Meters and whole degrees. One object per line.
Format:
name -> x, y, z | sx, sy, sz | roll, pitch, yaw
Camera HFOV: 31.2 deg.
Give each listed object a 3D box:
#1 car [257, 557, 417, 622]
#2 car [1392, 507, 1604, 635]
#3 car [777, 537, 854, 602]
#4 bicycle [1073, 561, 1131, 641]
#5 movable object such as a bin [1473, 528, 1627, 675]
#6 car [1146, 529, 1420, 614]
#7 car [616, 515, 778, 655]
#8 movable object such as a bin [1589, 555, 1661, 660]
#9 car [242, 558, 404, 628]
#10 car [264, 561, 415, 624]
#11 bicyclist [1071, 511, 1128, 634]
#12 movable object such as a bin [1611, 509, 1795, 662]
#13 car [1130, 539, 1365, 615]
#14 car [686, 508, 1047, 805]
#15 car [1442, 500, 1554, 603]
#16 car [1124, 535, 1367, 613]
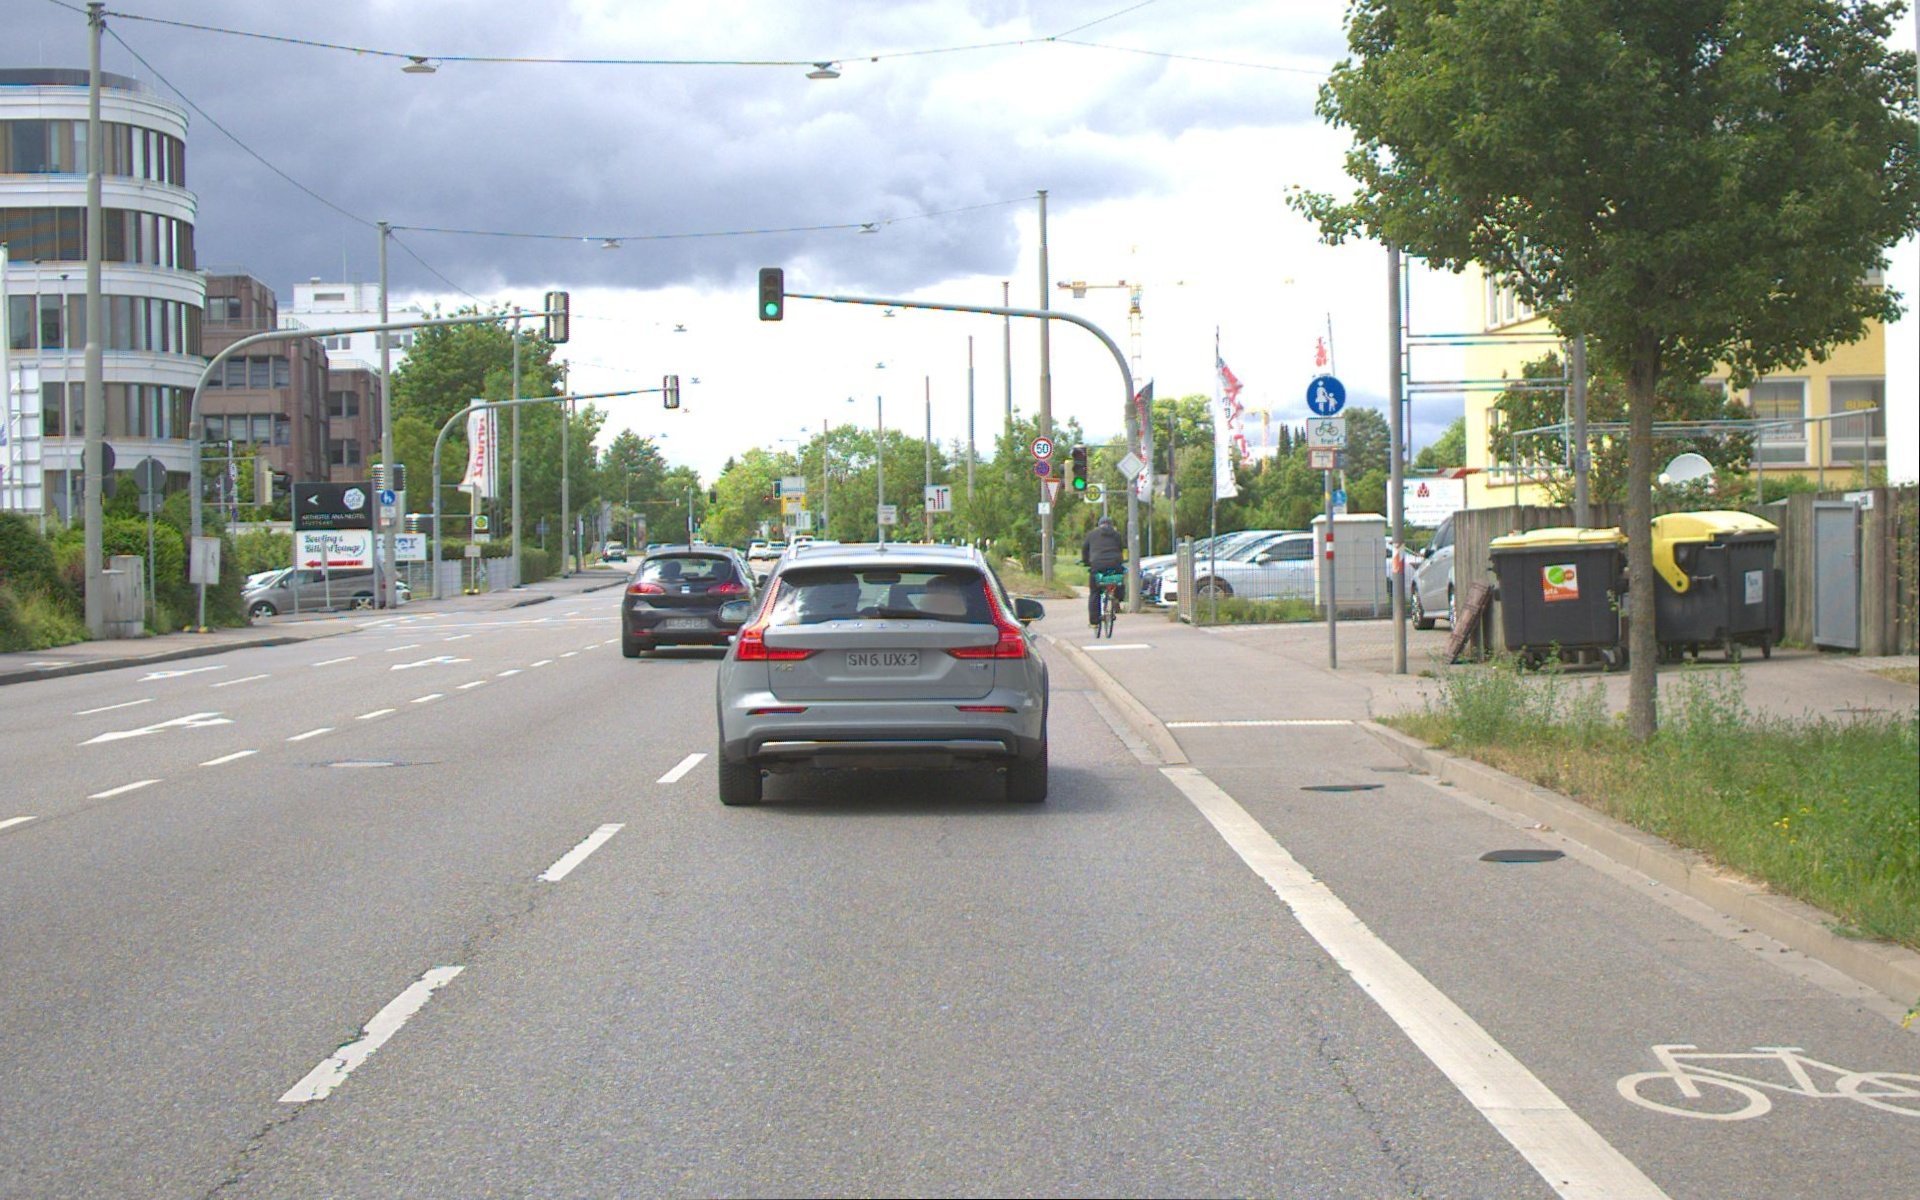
car -> -17.680, -0.290, 97.759 | 4.223, 1.382, 1.984 | -6, 0, -6
car -> 6.932, -0.394, 44.697 | 1.875, 1.540, 4.522 | -1, 1, -2
car -> -3.895, -0.810, 93.270 | 1.993, 1.689, 4.000 | 1, 0, -2
bicycle -> 1.999, 0.006, 48.534 | 0.638, 1.059, 1.977 | -4, 1, -1
movable object such as a bin -> 5.634, 0.023, 32.778 | 1.320, 1.356, 1.250 | -1, -1, 15
car -> 5.775, -0.520, 61.902 | 4.696, 1.488, 2.046 | 0, 1, -1
car -> -3.425, -0.189, 45.339 | 1.993, 1.711, 4.000 | 1, 0, -3
movable object such as a bin -> 6.520, 0.075, 33.716 | 0.567, 1.023, 0.405 | -1, -1, 36
car -> -17.126, -0.196, 92.619 | 4.092, 1.393, 1.909 | -6, 2, -8
car -> -18.083, -0.214, 100.299 | 3.987, 1.365, 1.848 | -6, 0, -3
bicyclist -> 1.967, -0.389, 48.527 | 0.638, 1.670, 0.890 | -4, 1, -1
movable object such as a bin -> 7.163, -0.125, 33.144 | 1.322, 1.430, 1.248 | -1, -1, 36
car -> 5.622, -0.455, 67.674 | 4.368, 1.399, 1.989 | 1, 1, -2
car -> -0.505, 0.304, 20.385 | 1.895, 1.549, 4.000 | 1, 0, 0
car -> 10.131, -0.880, 64.734 | 1.977, 1.815, 5.028 | -1, 0, 9
car -> 5.816, -0.530, 70.532 | 4.800, 1.475, 2.032 | 1, 1, 1
